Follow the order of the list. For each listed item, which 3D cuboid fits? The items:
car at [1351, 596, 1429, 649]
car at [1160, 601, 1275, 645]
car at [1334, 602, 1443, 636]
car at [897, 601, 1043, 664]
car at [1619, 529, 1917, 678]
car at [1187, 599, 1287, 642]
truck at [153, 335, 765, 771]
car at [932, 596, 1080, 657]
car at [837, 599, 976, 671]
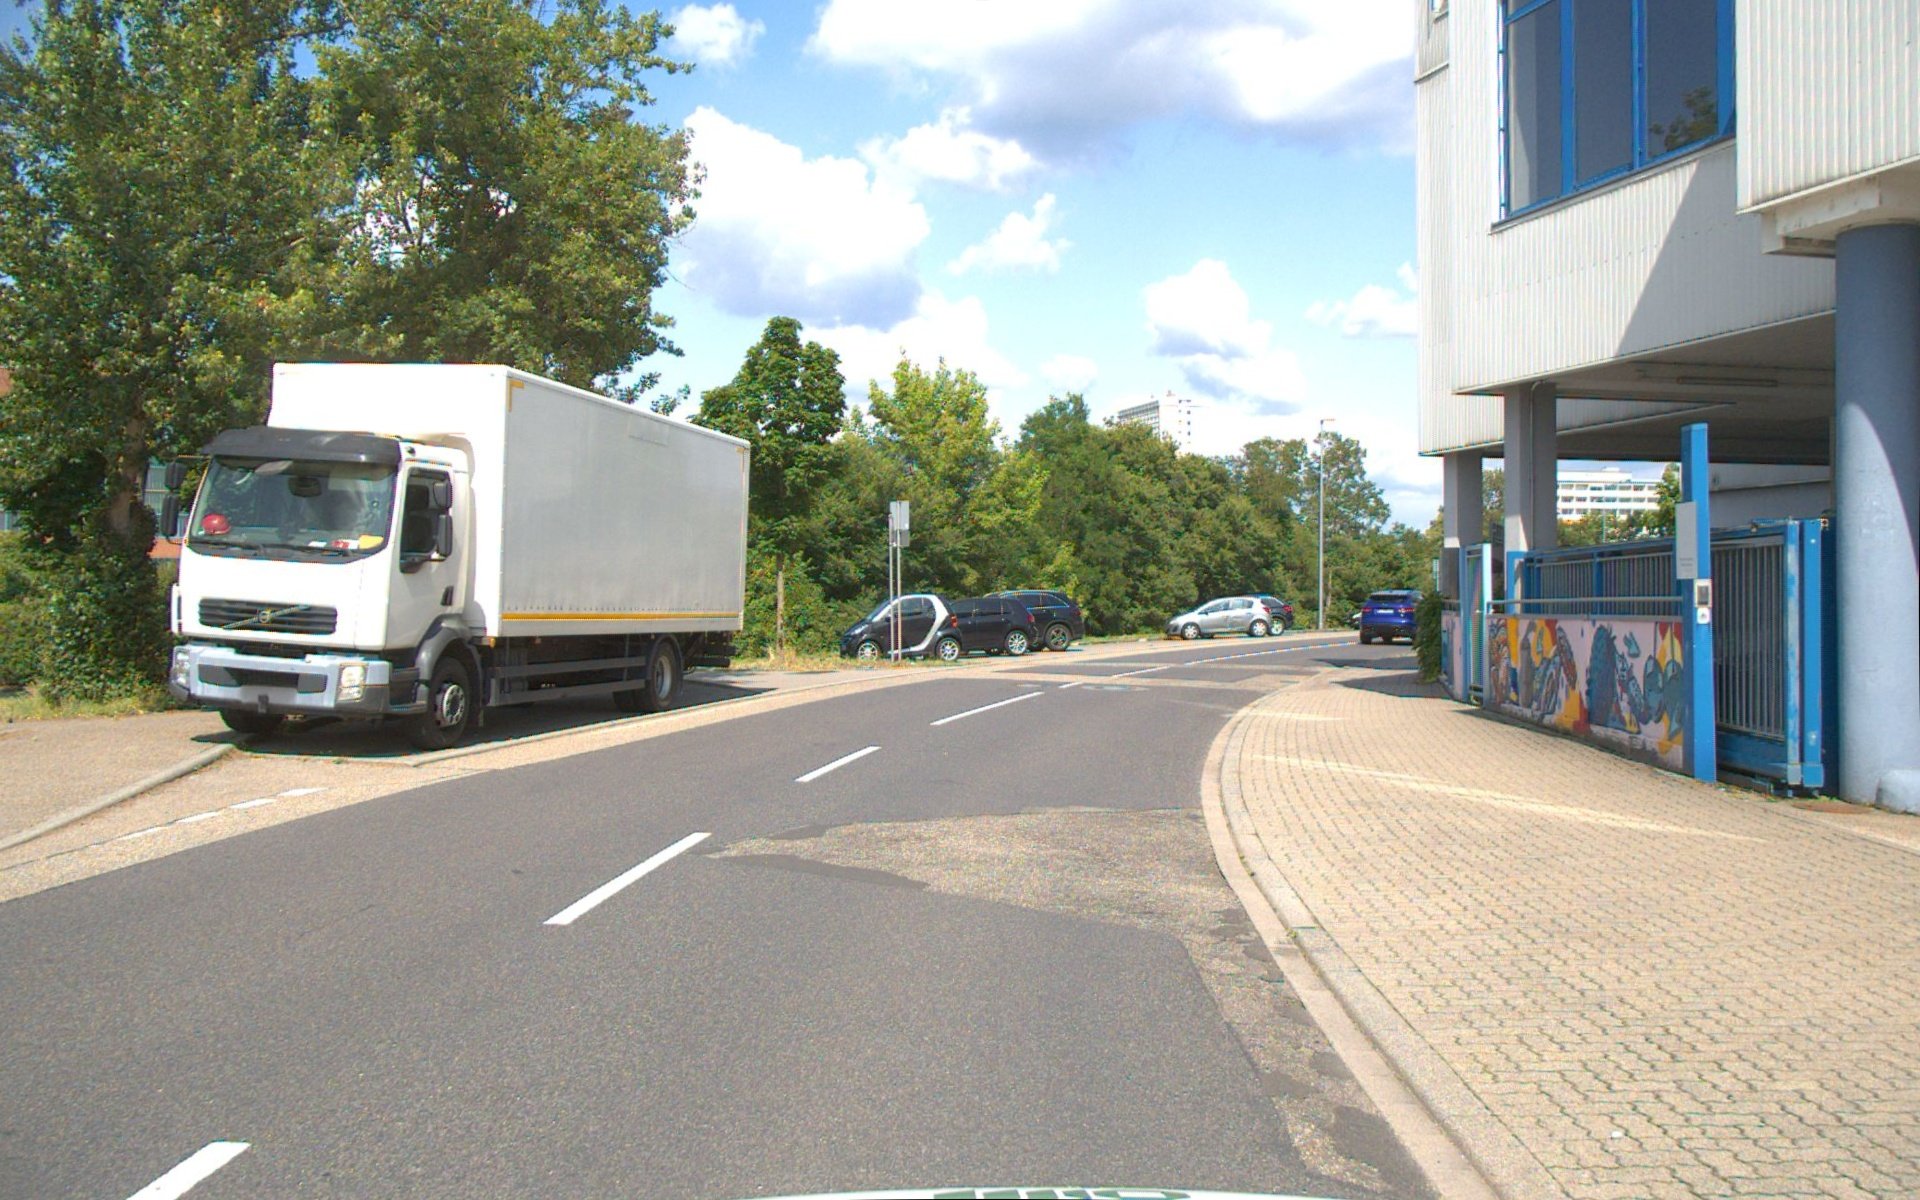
[{"bbox_3d":[13.763,0.734,52.769,1.870,1.621,4.701,0,-1,21],"label":"car"},{"bbox_3d":[9.351,0.841,60.268,3.962,1.597,1.742,0,-1,0],"label":"car"},{"bbox_3d":[20.574,0.913,79.453,4.781,1.597,1.742,0,-1,0],"label":"car"},{"bbox_3d":[0.237,0.795,41.321,3.278,1.501,1.692,0,0,-23],"label":"car"},{"bbox_3d":[12.035,0.068,24.893,3.634,2.049,2.001,2,-2,13],"label":"car"},{"bbox_3d":[10.444,0.782,62.458,3.504,1.597,1.742,0,-1,0],"label":"car"},{"bbox_3d":[-4.829,-0.426,18.599,2.271,3.630,9.375,1,0,12],"label":"truck"},{"bbox_3d":[1.241,0.710,44.674,3.577,1.597,1.877,0,-1,-22],"label":"car"},{"bbox_3d":[-1.253,0.803,37.863,2.849,1.597,1.882,0,-1,-15],"label":"car"}]
